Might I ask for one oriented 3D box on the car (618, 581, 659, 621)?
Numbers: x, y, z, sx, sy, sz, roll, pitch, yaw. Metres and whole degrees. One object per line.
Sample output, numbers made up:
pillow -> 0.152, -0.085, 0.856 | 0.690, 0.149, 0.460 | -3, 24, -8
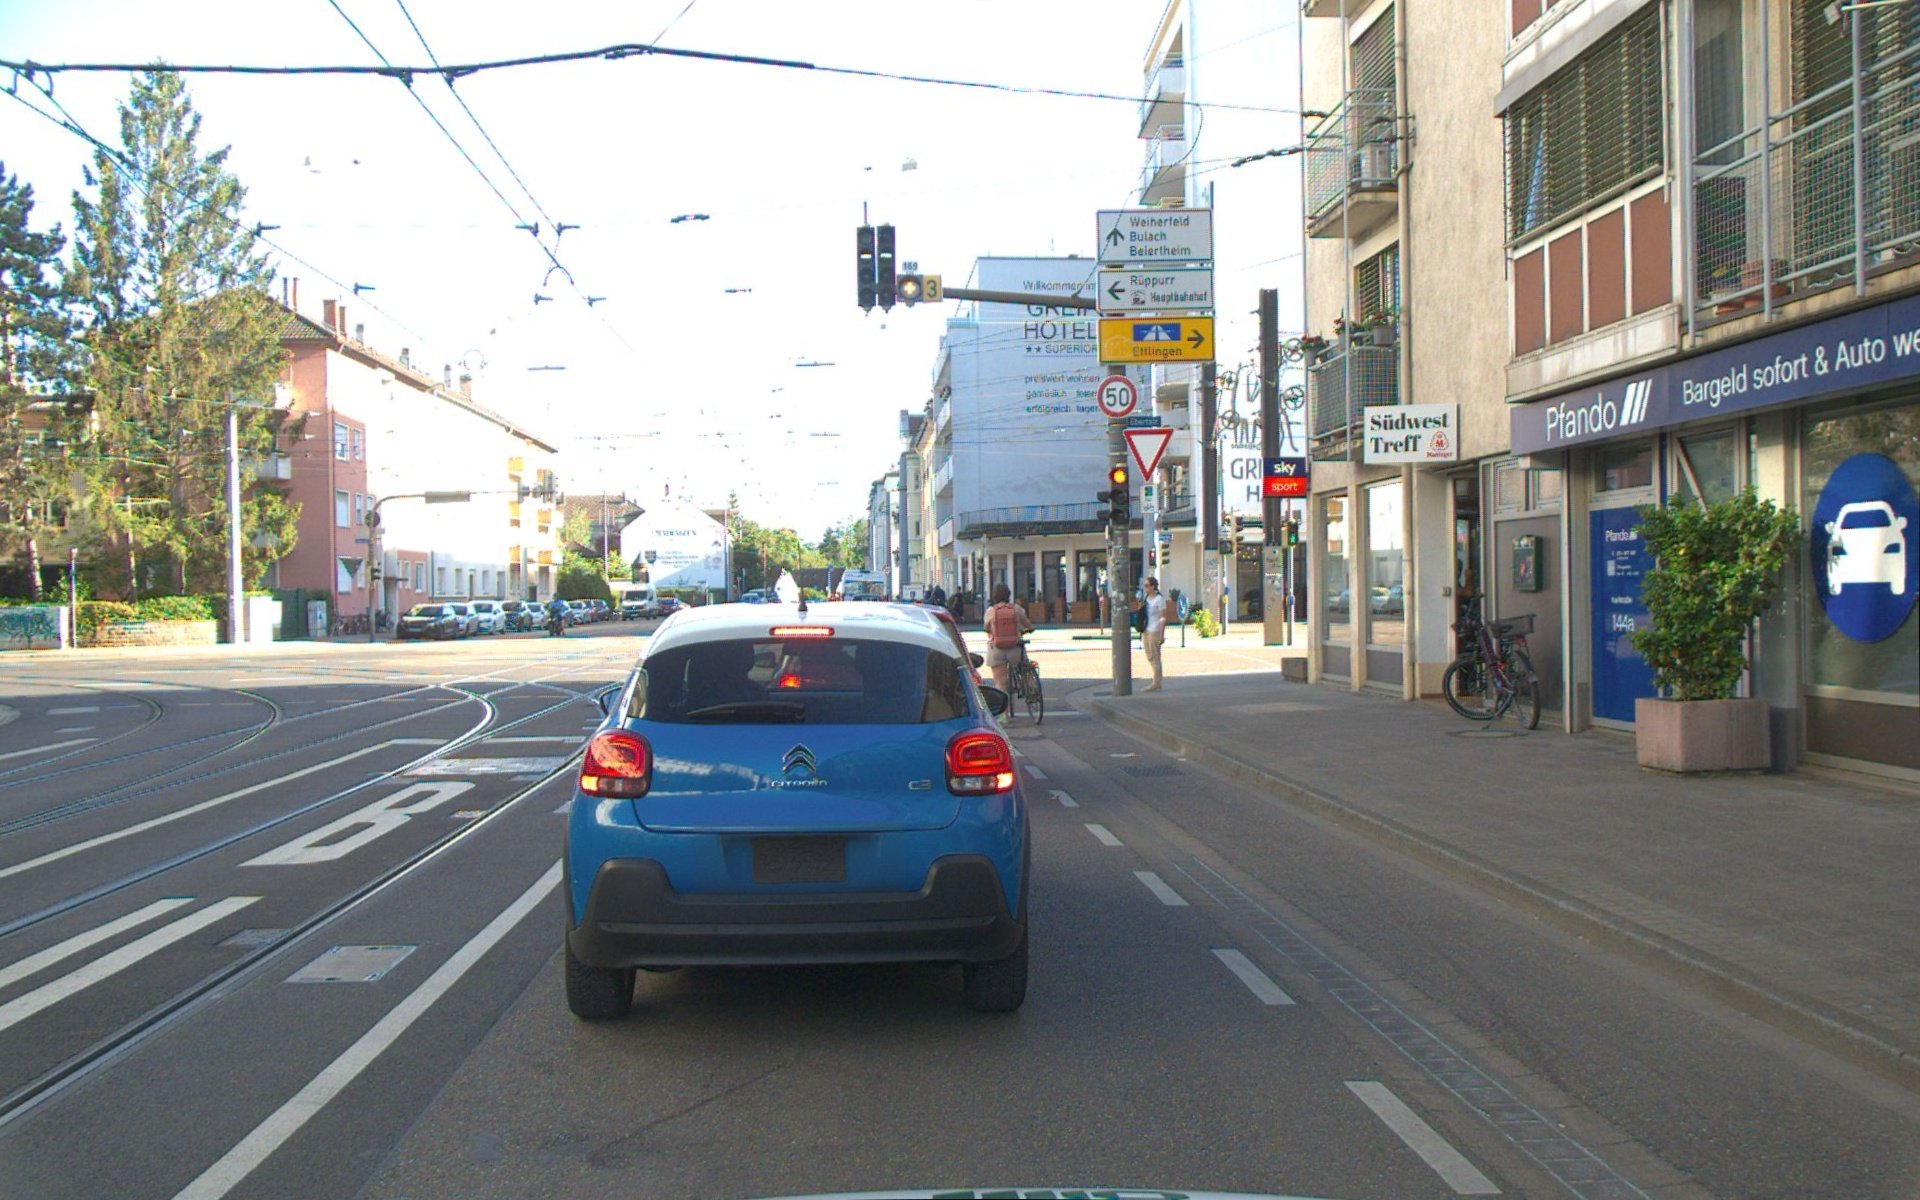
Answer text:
car -> -23.228, 0.077, 119.577 | 2.446, 2.759, 5.828 | -1, 0, -7

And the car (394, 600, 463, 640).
car -> -22.017, 0.794, 68.651 | 1.913, 1.545, 3.995 | -1, 0, -6

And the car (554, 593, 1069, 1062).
car -> -0.614, 0.727, 7.351 | 1.647, 1.488, 3.997 | 1, 0, -4

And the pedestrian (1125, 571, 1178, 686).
pedestrian -> 2.823, 0.411, 24.409 | 0.735, 1.663, 0.740 | -1, 0, 5

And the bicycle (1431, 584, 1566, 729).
bicycle -> 5.111, 0.502, 15.820 | 0.627, 1.287, 1.910 | -1, 0, -1

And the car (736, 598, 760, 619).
car -> -21.817, 0.823, 170.492 | 2.293, 2.074, 5.044 | -1, 0, -6

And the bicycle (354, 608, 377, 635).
bicycle -> -25.877, 0.931, 71.987 | 0.527, 1.101, 1.908 | -1, 0, -7

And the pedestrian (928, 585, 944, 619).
pedestrian -> -1.013, 0.093, 70.239 | 0.514, 1.445, 0.547 | -1, 0, 19

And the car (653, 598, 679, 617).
car -> -25.579, 0.655, 144.166 | 1.913, 1.545, 3.995 | -1, 0, -6

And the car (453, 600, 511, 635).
car -> -22.759, 0.824, 78.861 | 1.913, 1.545, 3.995 | -1, 0, -6

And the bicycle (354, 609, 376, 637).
bicycle -> -24.233, 0.939, 67.416 | 0.527, 1.101, 1.905 | -1, 0, -11

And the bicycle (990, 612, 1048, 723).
bicycle -> 0.719, 0.812, 20.637 | 0.601, 1.287, 1.910 | -1, 0, -1

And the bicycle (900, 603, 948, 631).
bicycle -> -1.449, 0.668, 67.085 | 1.868, 1.083, 0.641 | -1, 0, -8

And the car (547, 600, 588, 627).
car -> -24.412, 0.815, 102.990 | 1.913, 1.545, 3.995 | -1, 0, -6

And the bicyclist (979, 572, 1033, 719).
bicyclist -> 0.566, 0.550, 20.596 | 0.588, 1.776, 1.084 | -1, 0, -1

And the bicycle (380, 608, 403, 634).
bicycle -> -25.675, 0.945, 74.692 | 0.597, 1.101, 1.908 | -1, 0, -7

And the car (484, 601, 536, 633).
car -> -23.237, 0.844, 85.518 | 1.913, 1.545, 3.995 | -1, 0, -6

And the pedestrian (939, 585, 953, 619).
pedestrian -> -0.588, 0.088, 69.994 | 0.459, 1.445, 0.525 | -1, 0, -13

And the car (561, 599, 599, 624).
car -> -24.854, 0.757, 108.263 | 1.913, 1.545, 3.995 | -1, 0, -6

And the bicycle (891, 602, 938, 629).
bicycle -> -1.863, 0.645, 68.271 | 1.868, 1.083, 0.641 | -1, 0, -8

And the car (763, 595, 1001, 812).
car -> -0.681, 0.724, 13.560 | 1.647, 1.488, 3.997 | 1, 0, -4

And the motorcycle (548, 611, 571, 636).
motorcycle -> -16.228, 0.942, 67.021 | 0.738, 0.993, 2.092 | -1, 0, -9

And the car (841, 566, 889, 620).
car -> -4.234, -0.314, 73.179 | 2.039, 2.309, 5.646 | 0, 0, -4

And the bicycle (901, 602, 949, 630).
bicycle -> -1.396, 0.643, 65.780 | 1.868, 1.083, 0.641 | -1, 0, -8

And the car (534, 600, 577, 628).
car -> -23.938, 0.829, 97.993 | 1.913, 1.545, 3.995 | -1, 0, -6

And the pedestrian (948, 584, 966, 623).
pedestrian -> -0.122, 0.146, 70.554 | 0.547, 1.676, 0.533 | -1, 0, -28

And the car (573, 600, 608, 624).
car -> -25.570, 0.797, 114.593 | 1.913, 1.545, 3.995 | -1, 0, -6

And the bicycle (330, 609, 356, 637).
bicycle -> -24.985, 0.921, 66.991 | 0.628, 1.101, 1.905 | -1, 0, -11

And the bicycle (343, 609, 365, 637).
bicycle -> -24.591, 0.931, 67.117 | 0.527, 1.101, 1.905 | -1, 0, -11

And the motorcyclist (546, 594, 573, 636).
motorcyclist -> -16.208, 0.610, 66.953 | 0.973, 1.659, 0.737 | -1, 0, -10

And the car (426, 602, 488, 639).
car -> -22.557, 0.880, 74.256 | 1.913, 1.545, 4.040 | -1, 0, -6

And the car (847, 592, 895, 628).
car -> -3.679, 0.386, 67.740 | 1.752, 1.383, 3.909 | -1, 0, -6

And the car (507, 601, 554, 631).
car -> -23.767, 0.861, 91.568 | 1.913, 1.545, 3.995 | -1, 0, -6
